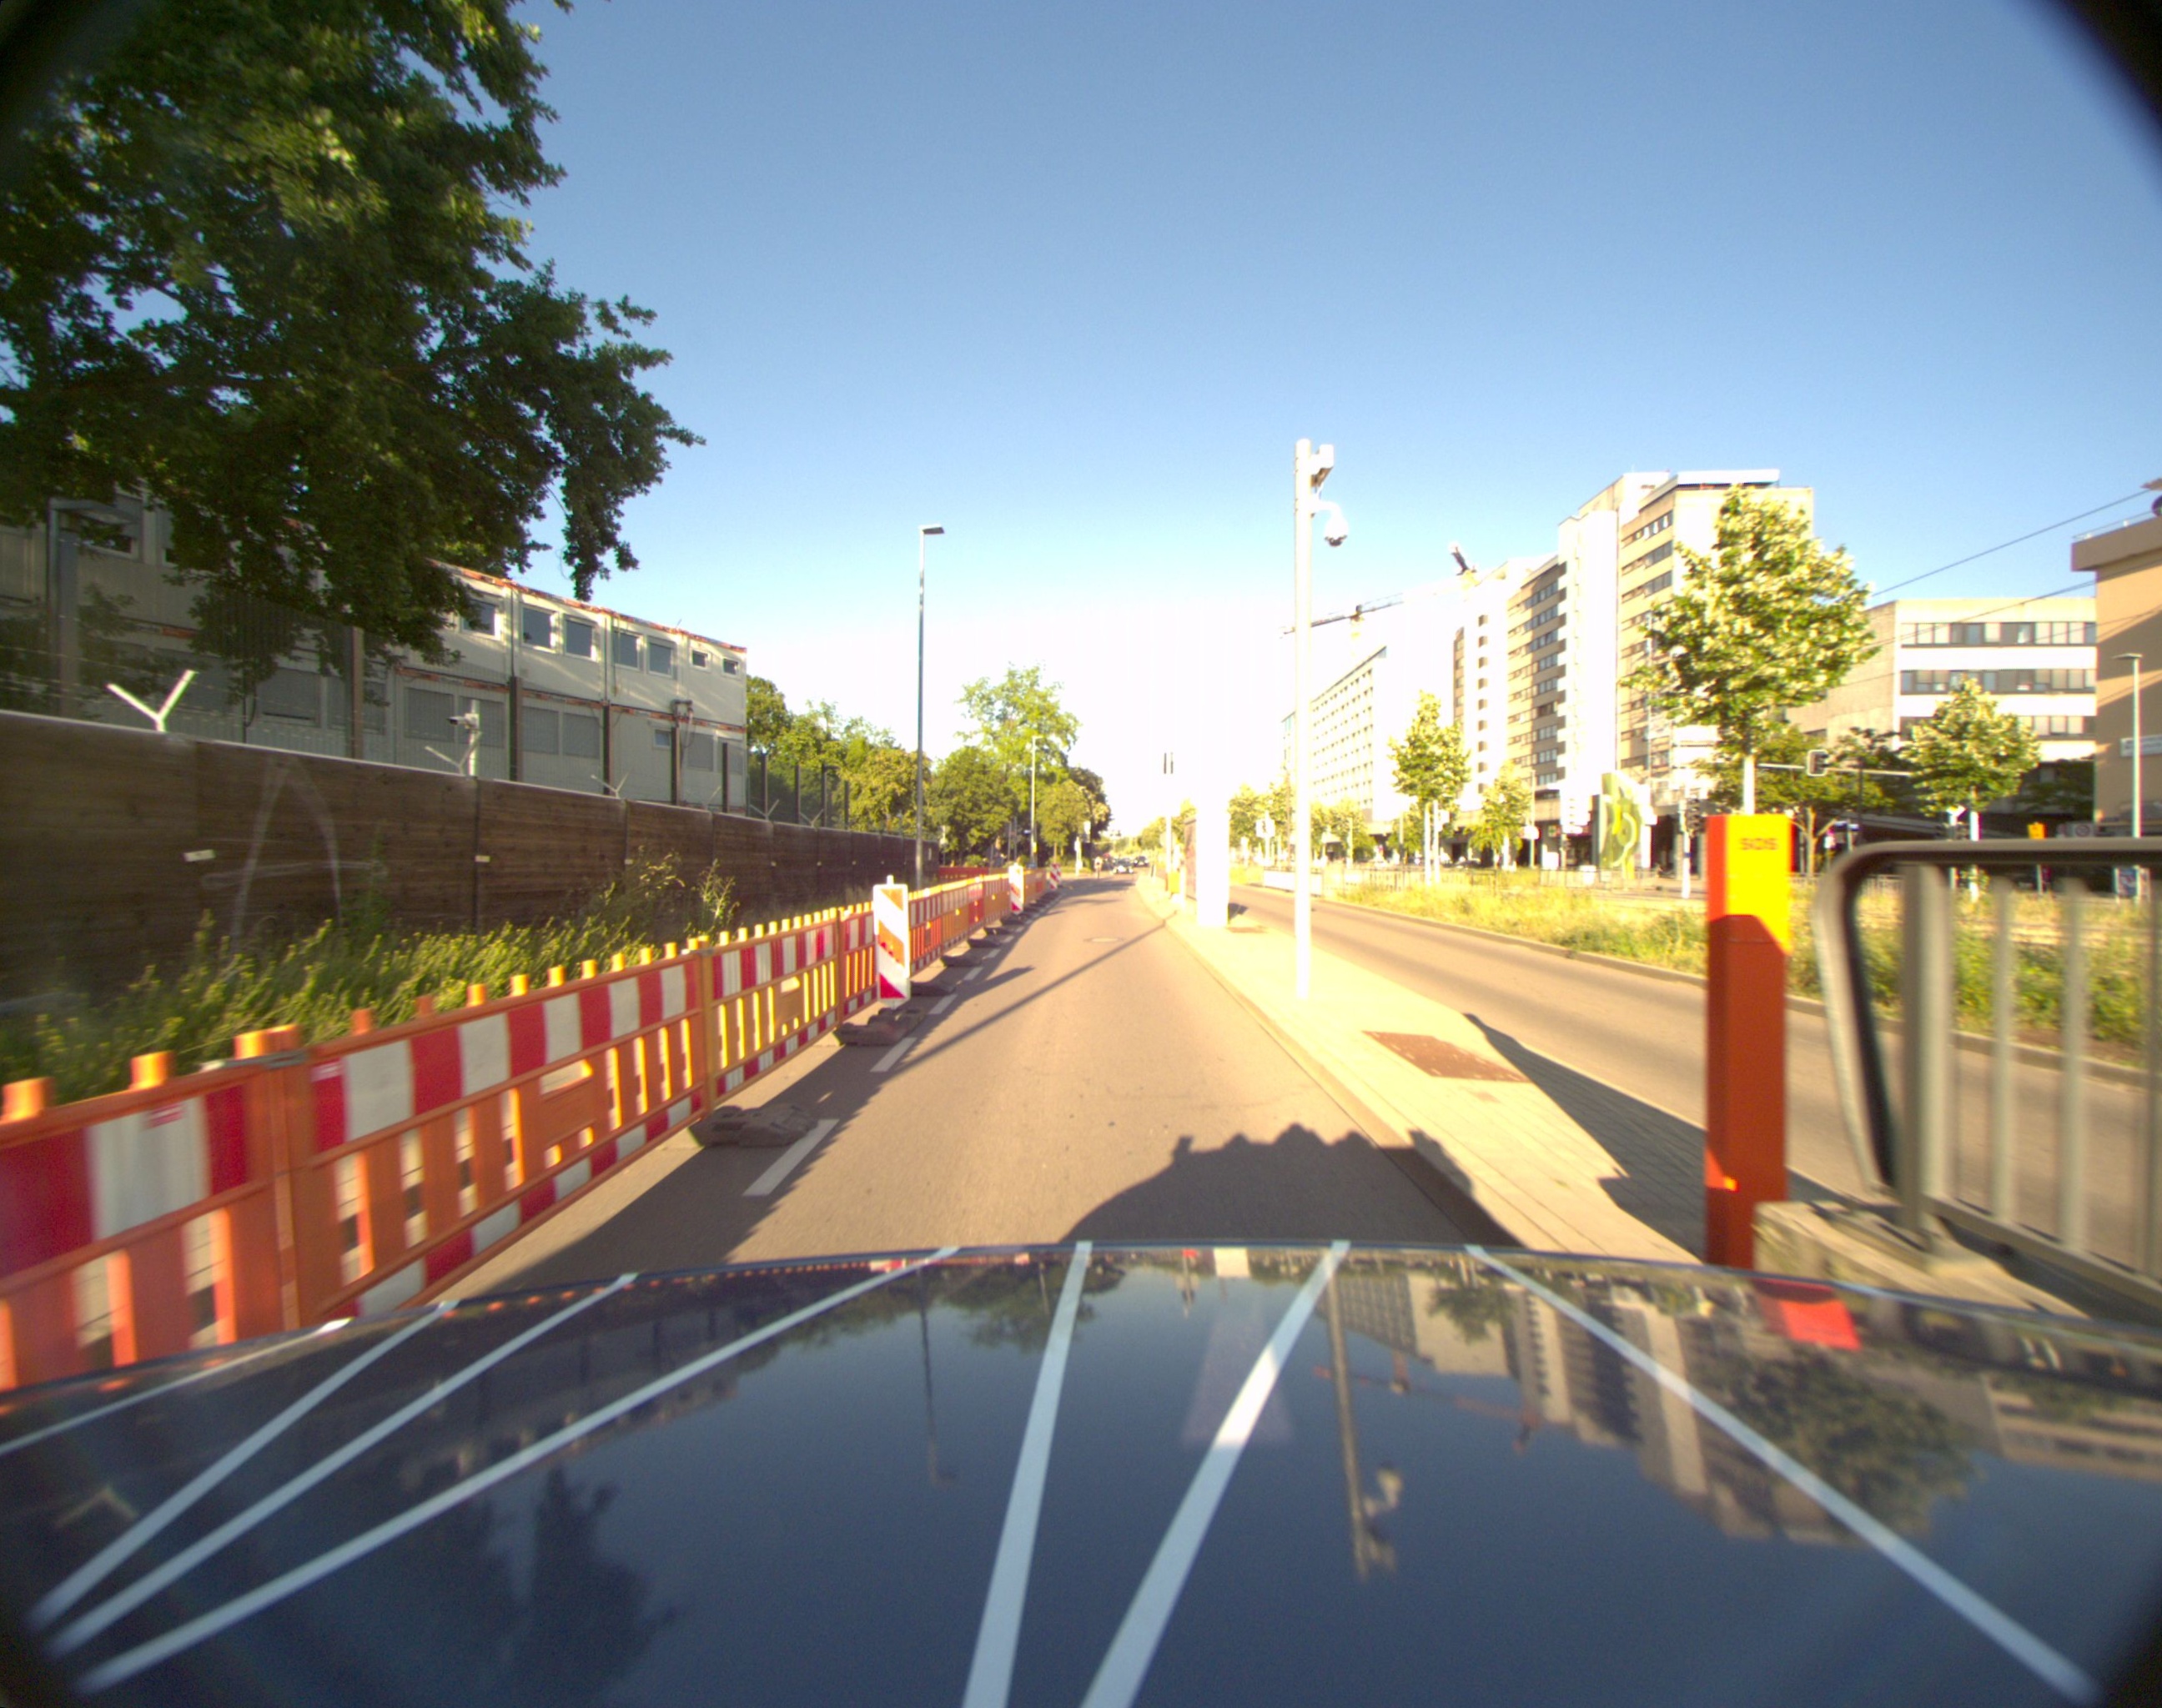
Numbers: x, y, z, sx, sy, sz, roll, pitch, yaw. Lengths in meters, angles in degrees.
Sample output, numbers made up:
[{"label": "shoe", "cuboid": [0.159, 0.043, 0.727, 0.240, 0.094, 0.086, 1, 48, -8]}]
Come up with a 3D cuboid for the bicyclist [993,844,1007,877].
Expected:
[{"label": "bicyclist", "cuboid": [-4.021, 0.306, 37.828, 0.585, 1.605, 0.903, 0, 1, 2]}]

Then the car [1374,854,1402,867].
[{"label": "car", "cuboid": [37.577, 0.805, 92.890, 3.800, 1.436, 1.617, -3, 1, -41]}]

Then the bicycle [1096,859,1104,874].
[{"label": "bicycle", "cuboid": [1.357, 0.888, 54.181, 0.505, 1.018, 1.505, 0, 0, 2]}]

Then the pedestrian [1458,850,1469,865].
[{"label": "pedestrian", "cuboid": [42.520, 0.401, 84.393, 0.776, 1.630, 0.882, 0, 1, 1]}]

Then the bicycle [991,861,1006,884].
[{"label": "bicycle", "cuboid": [-4.084, 0.914, 37.626, 0.428, 1.055, 1.911, 0, 0, 3]}]

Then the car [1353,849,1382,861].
[{"label": "car", "cuboid": [37.460, 0.132, 99.281, 4.556, 1.436, 1.617, -3, 1, -43]}]

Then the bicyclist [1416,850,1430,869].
[{"label": "bicyclist", "cuboid": [25.914, 0.420, 57.570, 0.737, 1.386, 0.715, -1, 1, -23]}]

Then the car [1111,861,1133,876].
[{"label": "car", "cuboid": [3.891, 1.372, 72.786, 1.998, 1.346, 4.000, 0, 0, 2]}]

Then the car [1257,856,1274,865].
[{"label": "car", "cuboid": [32.341, 1.156, 133.243, 1.780, 1.455, 4.662, 0, 0, 1]}]

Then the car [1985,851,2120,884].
[{"label": "car", "cuboid": [46.246, 0.624, 36.230, 3.996, 1.487, 1.847, 0, 1, 1]}]

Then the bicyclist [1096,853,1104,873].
[{"label": "bicyclist", "cuboid": [1.354, 0.626, 54.119, 0.516, 1.399, 0.805, 0, 1, 1]}]

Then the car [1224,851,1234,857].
[{"label": "car", "cuboid": [41.771, 0.026, 214.554, 1.874, 1.579, 4.639, -2, 1, 2]}]

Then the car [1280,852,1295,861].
[{"label": "car", "cuboid": [37.707, 0.466, 138.593, 1.874, 1.457, 3.389, -2, 1, 2]}]

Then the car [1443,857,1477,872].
[{"label": "car", "cuboid": [35.438, 0.985, 71.052, 3.473, 1.266, 1.617, -3, 1, -42]}]

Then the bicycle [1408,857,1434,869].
[{"label": "bicycle", "cuboid": [25.883, 0.665, 57.884, 0.507, 0.886, 2.027, -1, 0, -22]}]

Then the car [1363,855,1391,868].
[{"label": "car", "cuboid": [37.412, 0.986, 95.914, 3.809, 1.436, 1.785, -3, 1, -43]}]

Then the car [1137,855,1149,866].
[{"label": "car", "cuboid": [8.923, 0.948, 110.055, 1.591, 1.449, 4.001, 0, 0, 3]}]

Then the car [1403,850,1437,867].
[{"label": "car", "cuboid": [37.026, 0.511, 82.908, 4.204, 1.681, 1.617, -3, 1, -39]}]

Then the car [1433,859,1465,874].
[{"label": "car", "cuboid": [37.035, 1.242, 76.417, 3.473, 1.394, 1.617, -3, 1, -42]}]
